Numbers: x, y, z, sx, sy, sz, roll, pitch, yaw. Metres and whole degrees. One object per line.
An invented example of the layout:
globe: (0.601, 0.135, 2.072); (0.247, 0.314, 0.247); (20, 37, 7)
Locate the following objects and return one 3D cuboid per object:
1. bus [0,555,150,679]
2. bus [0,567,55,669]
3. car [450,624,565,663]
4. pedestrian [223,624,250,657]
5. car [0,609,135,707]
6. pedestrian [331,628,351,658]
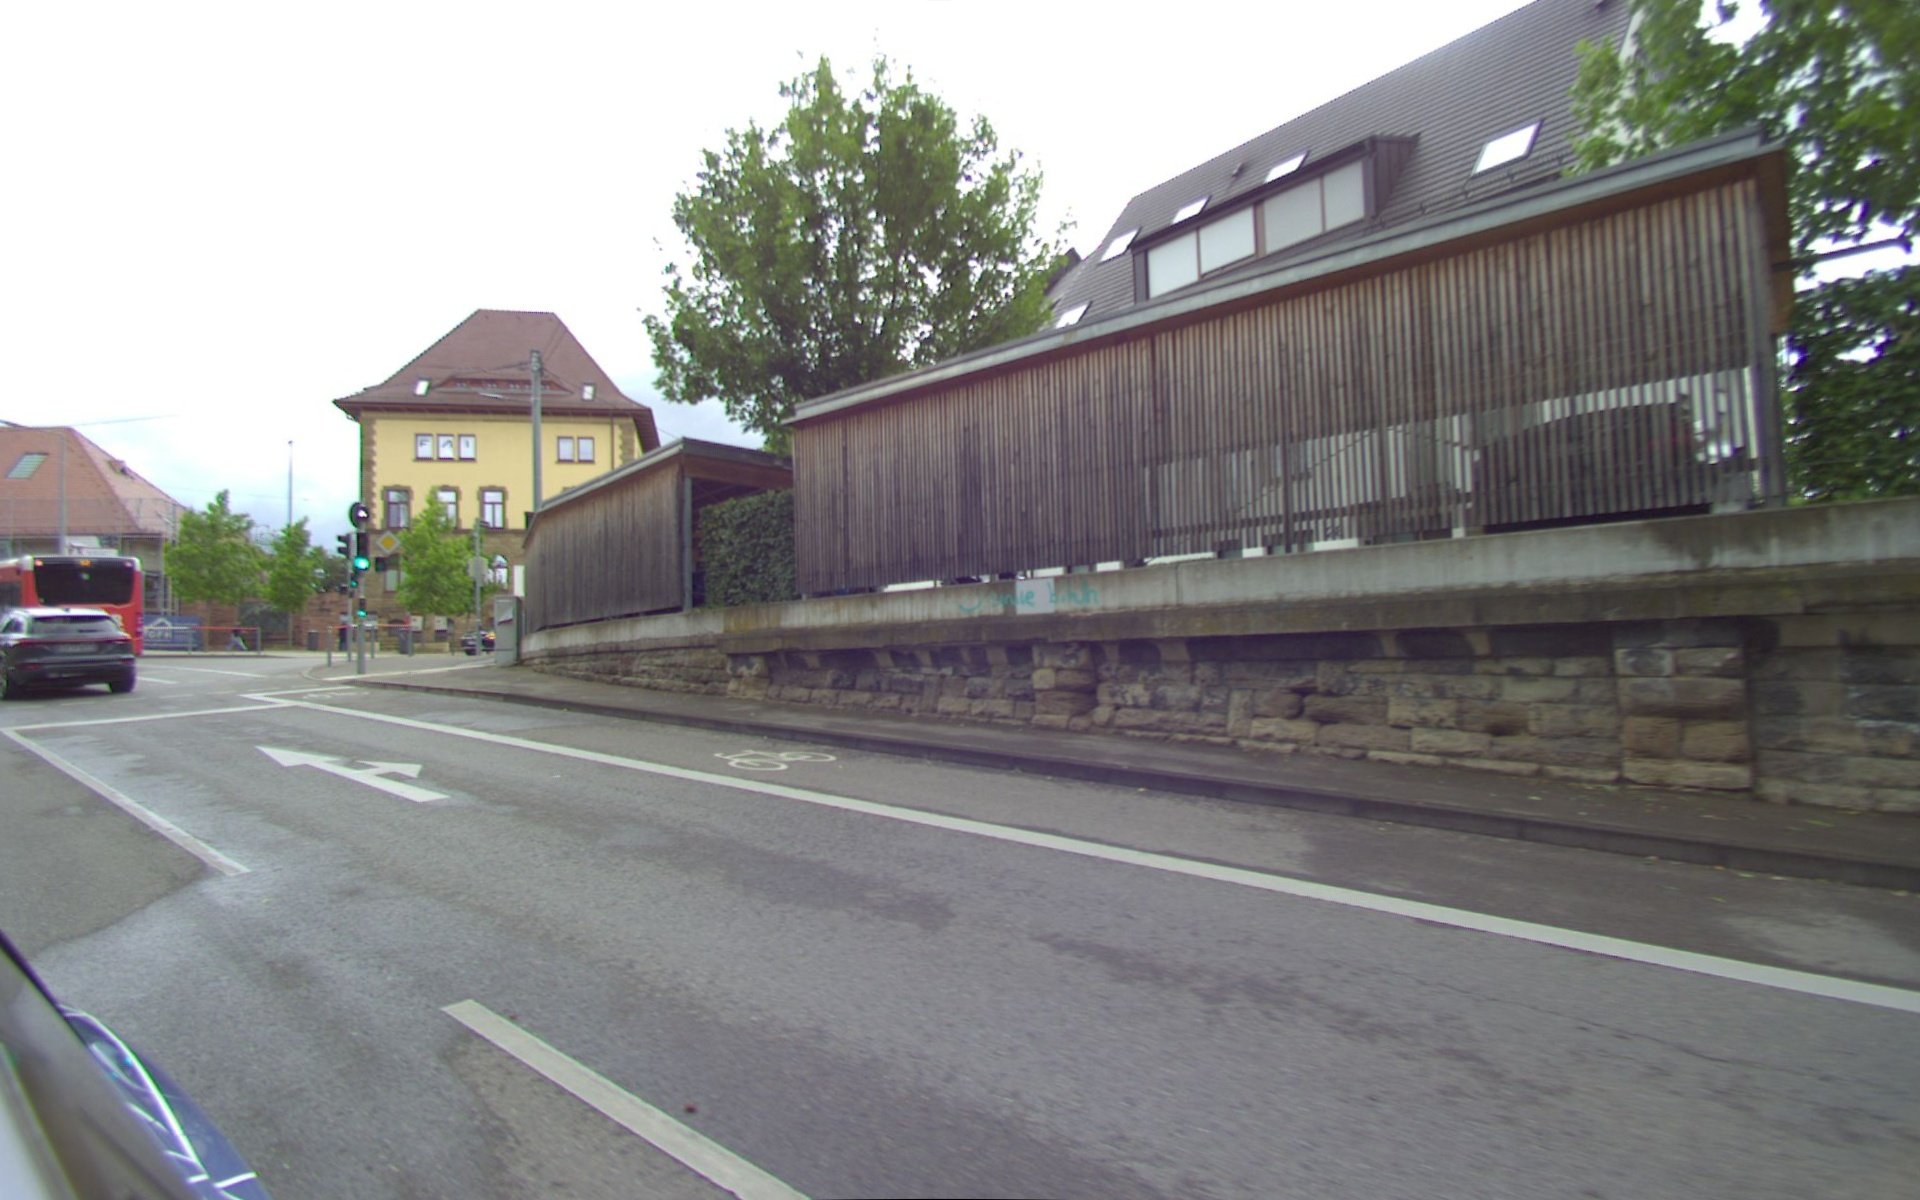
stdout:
bus: (-26.408, 0.487, 29.138); (8.274, 3.145, 2.635); (-1, 0, 35)
bus: (-33.979, 0.645, 34.300); (9.993, 3.145, 2.635); (-1, 0, 34)
car: (-18.679, 1.797, 41.998); (1.984, 1.524, 4.246); (0, -3, 19)
pedestrian: (-38.851, 2.170, 54.364); (0.785, 1.733, 0.928); (1, -2, -10)
car: (-17.881, 1.028, 19.676); (4.516, 1.642, 1.904); (0, 1, 38)
pedestrian: (-32.479, 2.257, 53.105); (0.644, 1.589, 0.539); (0, -2, 2)
